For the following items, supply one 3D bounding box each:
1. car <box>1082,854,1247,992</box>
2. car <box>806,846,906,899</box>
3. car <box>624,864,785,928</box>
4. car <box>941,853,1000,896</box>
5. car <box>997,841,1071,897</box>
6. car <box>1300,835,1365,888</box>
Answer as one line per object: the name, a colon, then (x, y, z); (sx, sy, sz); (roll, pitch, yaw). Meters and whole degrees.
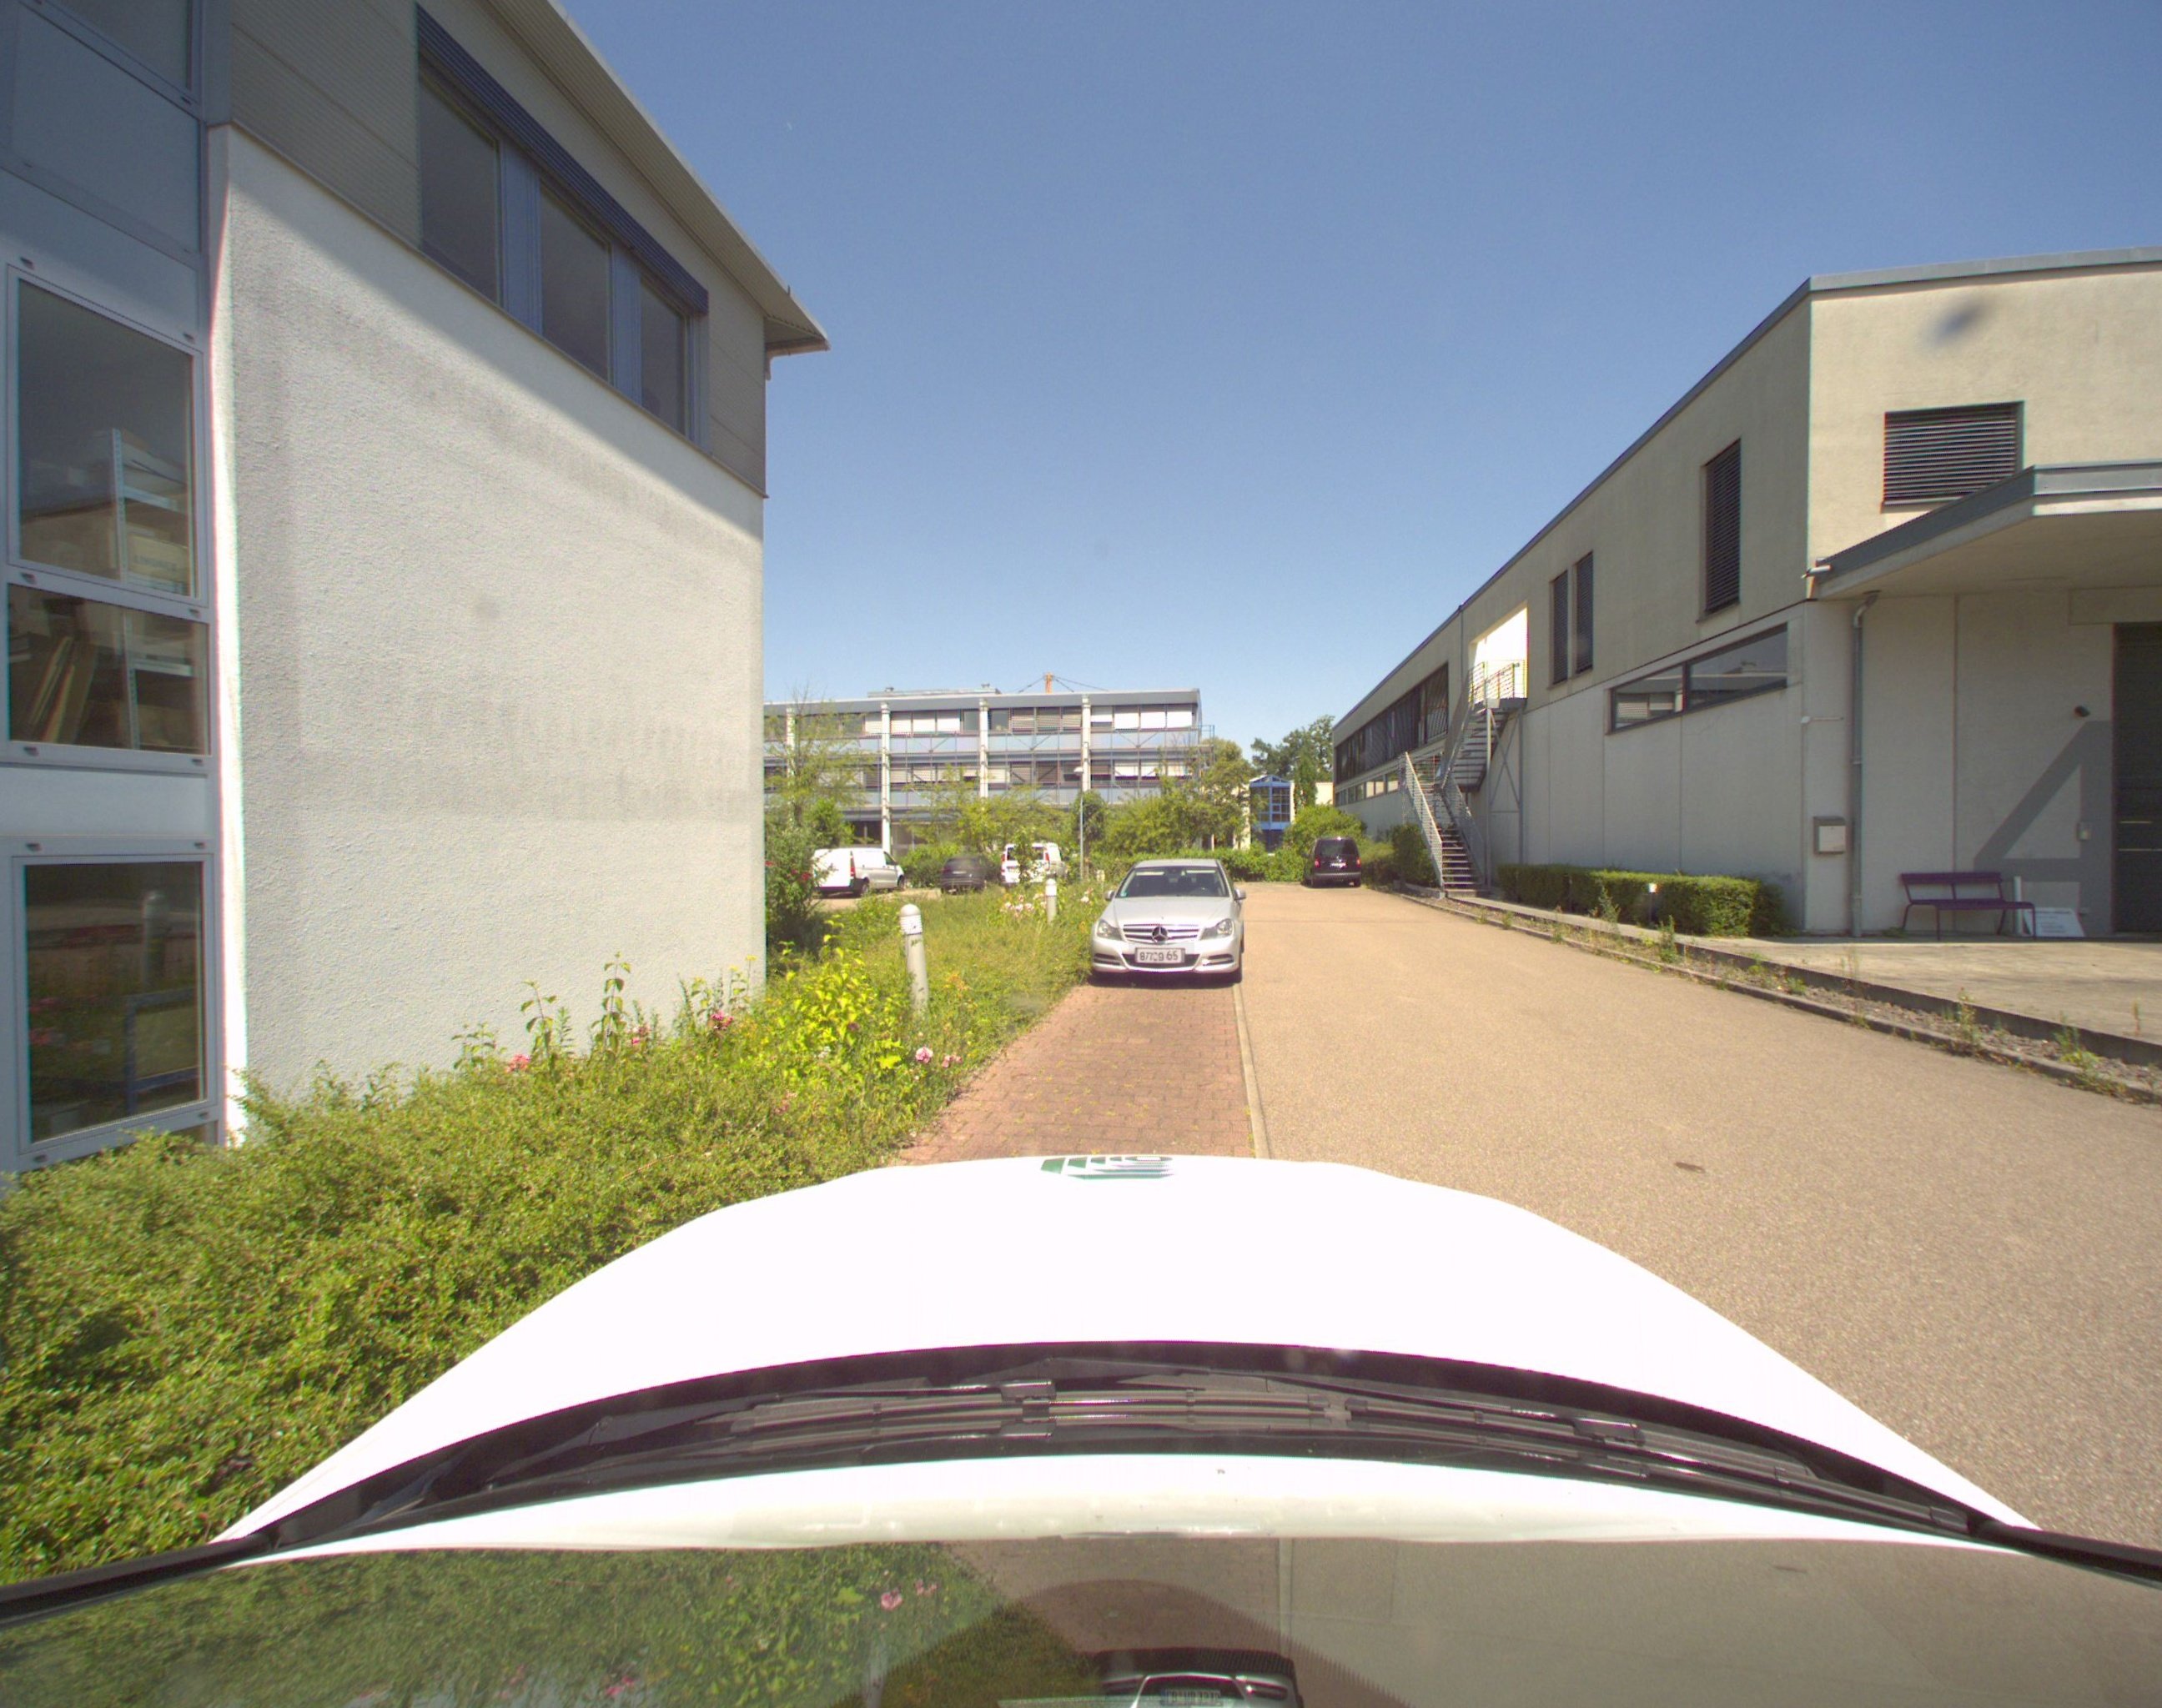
car: (1.308, 0.762, 10.920); (1.717, 1.457, 4.161); (-2, 0, 12)
car: (-8.870, 0.669, 32.568); (1.870, 1.891, 4.818); (-1, 1, 10)
car: (-10.266, 1.089, 22.671); (1.846, 1.472, 4.495); (-1, 1, 8)
car: (-4.327, 0.748, 32.416); (1.749, 1.476, 3.999); (-2, 1, 0)
car: (-1.698, 0.498, 31.464); (1.902, 1.905, 4.819); (-2, 1, 8)
car: (9.415, 0.242, 30.747); (1.733, 1.837, 4.010); (-2, 0, 9)
